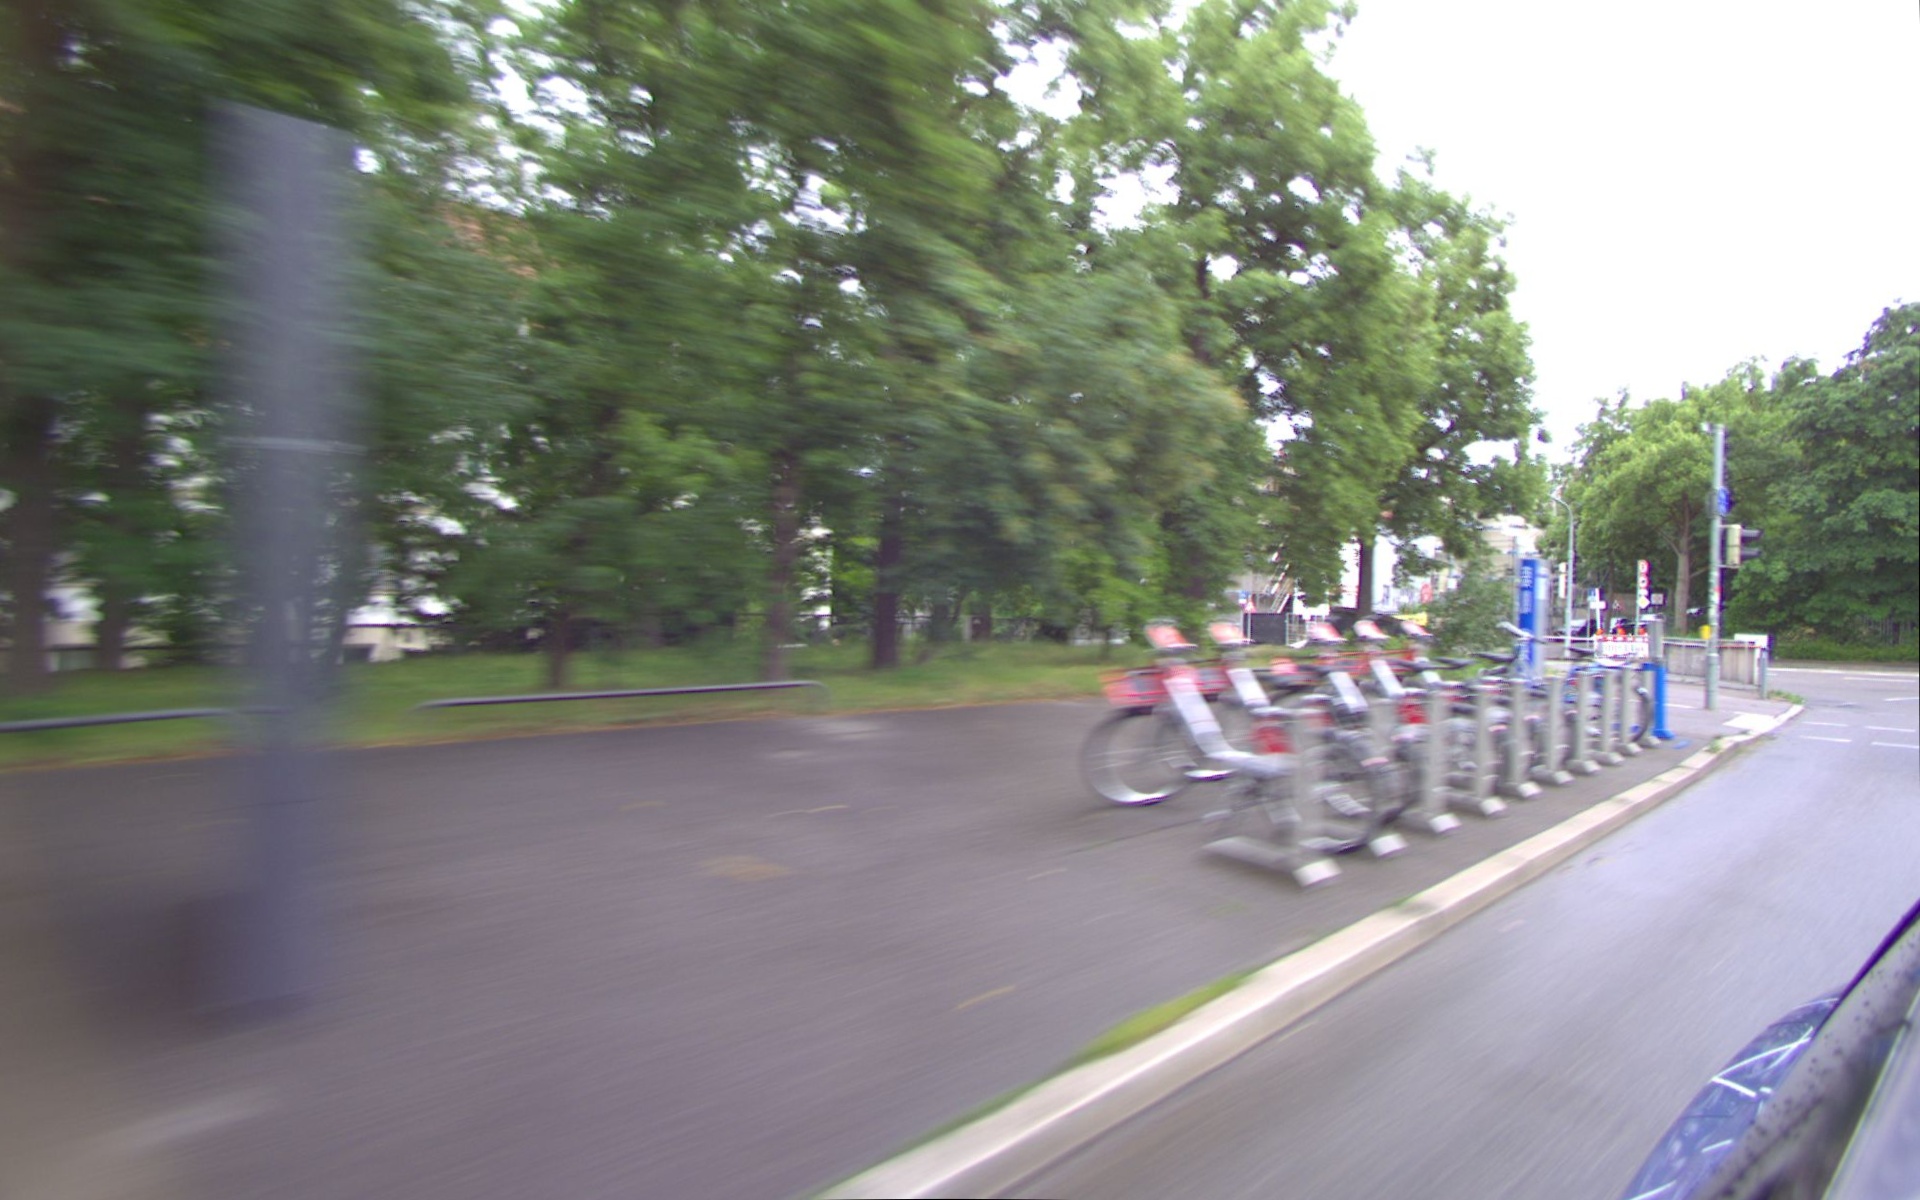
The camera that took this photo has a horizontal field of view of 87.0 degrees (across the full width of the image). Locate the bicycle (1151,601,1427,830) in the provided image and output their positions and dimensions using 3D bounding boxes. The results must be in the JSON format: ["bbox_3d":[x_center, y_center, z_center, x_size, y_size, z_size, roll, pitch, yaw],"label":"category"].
[{"bbox_3d":[1.967,0.627,6.204,0.548,1.145,1.487,0,4,-44],"label":"bicycle"}]

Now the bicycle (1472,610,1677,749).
[{"bbox_3d":[6.015,0.732,9.970,0.547,1.145,1.597,0,4,-44],"label":"bicycle"}]

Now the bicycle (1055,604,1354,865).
[{"bbox_3d":[1.283,0.643,5.532,0.548,1.145,1.487,0,4,-44],"label":"bicycle"}]

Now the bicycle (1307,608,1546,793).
[{"bbox_3d":[3.442,0.688,7.559,0.548,1.145,1.487,0,4,-44],"label":"bicycle"}]

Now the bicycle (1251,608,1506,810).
[{"bbox_3d":[2.842,0.680,6.979,0.548,1.145,1.487,0,4,-44],"label":"bicycle"}]

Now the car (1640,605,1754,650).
[{"bbox_3d":[35.537,1.296,48.875,3.930,2.039,1.996,1,-1,6],"label":"car"}]

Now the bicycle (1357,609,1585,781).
[{"bbox_3d":[4.045,0.699,8.090,0.548,1.145,1.487,0,4,-44],"label":"bicycle"}]
